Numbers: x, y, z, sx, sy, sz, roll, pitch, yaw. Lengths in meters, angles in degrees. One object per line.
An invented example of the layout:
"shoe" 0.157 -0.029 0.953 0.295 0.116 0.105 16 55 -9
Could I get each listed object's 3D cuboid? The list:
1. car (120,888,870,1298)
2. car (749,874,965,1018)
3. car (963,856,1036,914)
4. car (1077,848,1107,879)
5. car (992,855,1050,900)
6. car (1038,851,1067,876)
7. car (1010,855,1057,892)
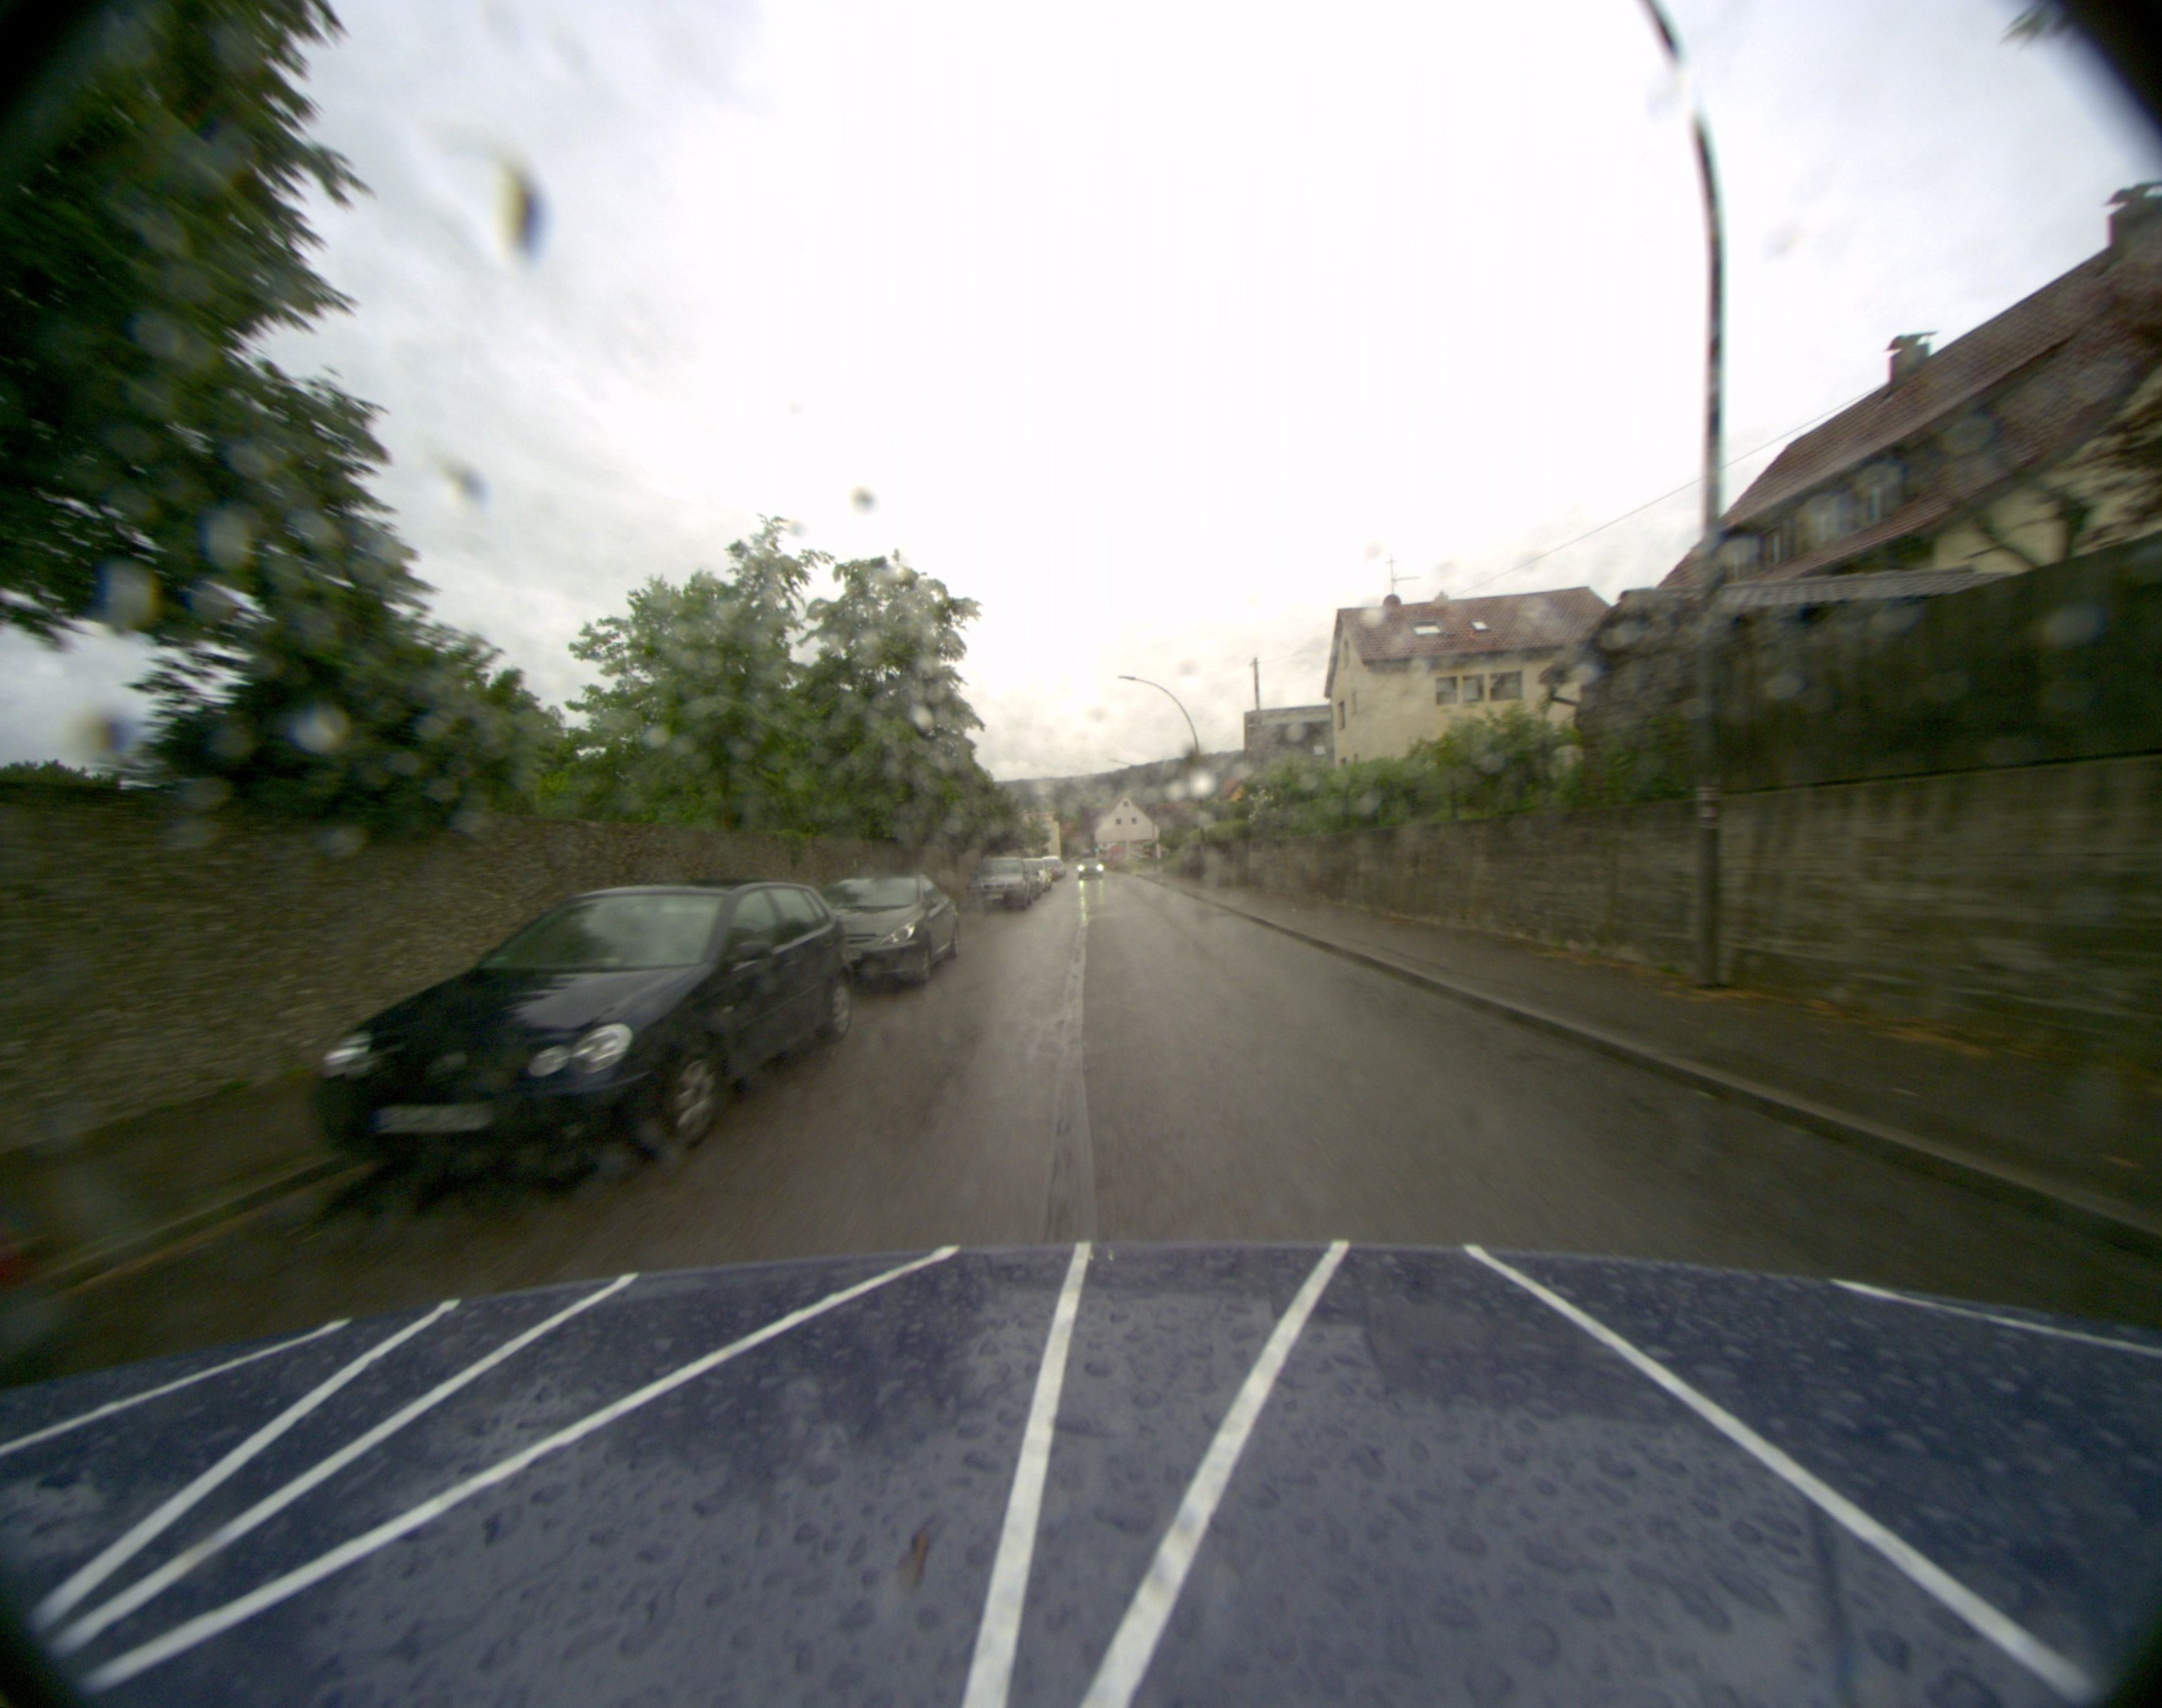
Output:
"car" -2.943 1.062 5.145 1.764 1.411 4.153 -2 0 1
"car" -2.788 1.070 10.484 1.764 1.411 4.153 -2 0 -1
"car" -2.528 0.909 24.481 1.833 1.620 4.153 -2 0 0
"car" 0.795 0.655 55.238 1.998 2.002 3.999 -3 2 0
"car" -2.367 0.900 30.786 1.833 1.620 4.154 -2 0 2
"car" -2.161 0.712 58.982 1.949 1.783 4.186 -2 1 1
"car" -2.278 0.903 37.195 1.833 1.620 4.154 -2 0 2
